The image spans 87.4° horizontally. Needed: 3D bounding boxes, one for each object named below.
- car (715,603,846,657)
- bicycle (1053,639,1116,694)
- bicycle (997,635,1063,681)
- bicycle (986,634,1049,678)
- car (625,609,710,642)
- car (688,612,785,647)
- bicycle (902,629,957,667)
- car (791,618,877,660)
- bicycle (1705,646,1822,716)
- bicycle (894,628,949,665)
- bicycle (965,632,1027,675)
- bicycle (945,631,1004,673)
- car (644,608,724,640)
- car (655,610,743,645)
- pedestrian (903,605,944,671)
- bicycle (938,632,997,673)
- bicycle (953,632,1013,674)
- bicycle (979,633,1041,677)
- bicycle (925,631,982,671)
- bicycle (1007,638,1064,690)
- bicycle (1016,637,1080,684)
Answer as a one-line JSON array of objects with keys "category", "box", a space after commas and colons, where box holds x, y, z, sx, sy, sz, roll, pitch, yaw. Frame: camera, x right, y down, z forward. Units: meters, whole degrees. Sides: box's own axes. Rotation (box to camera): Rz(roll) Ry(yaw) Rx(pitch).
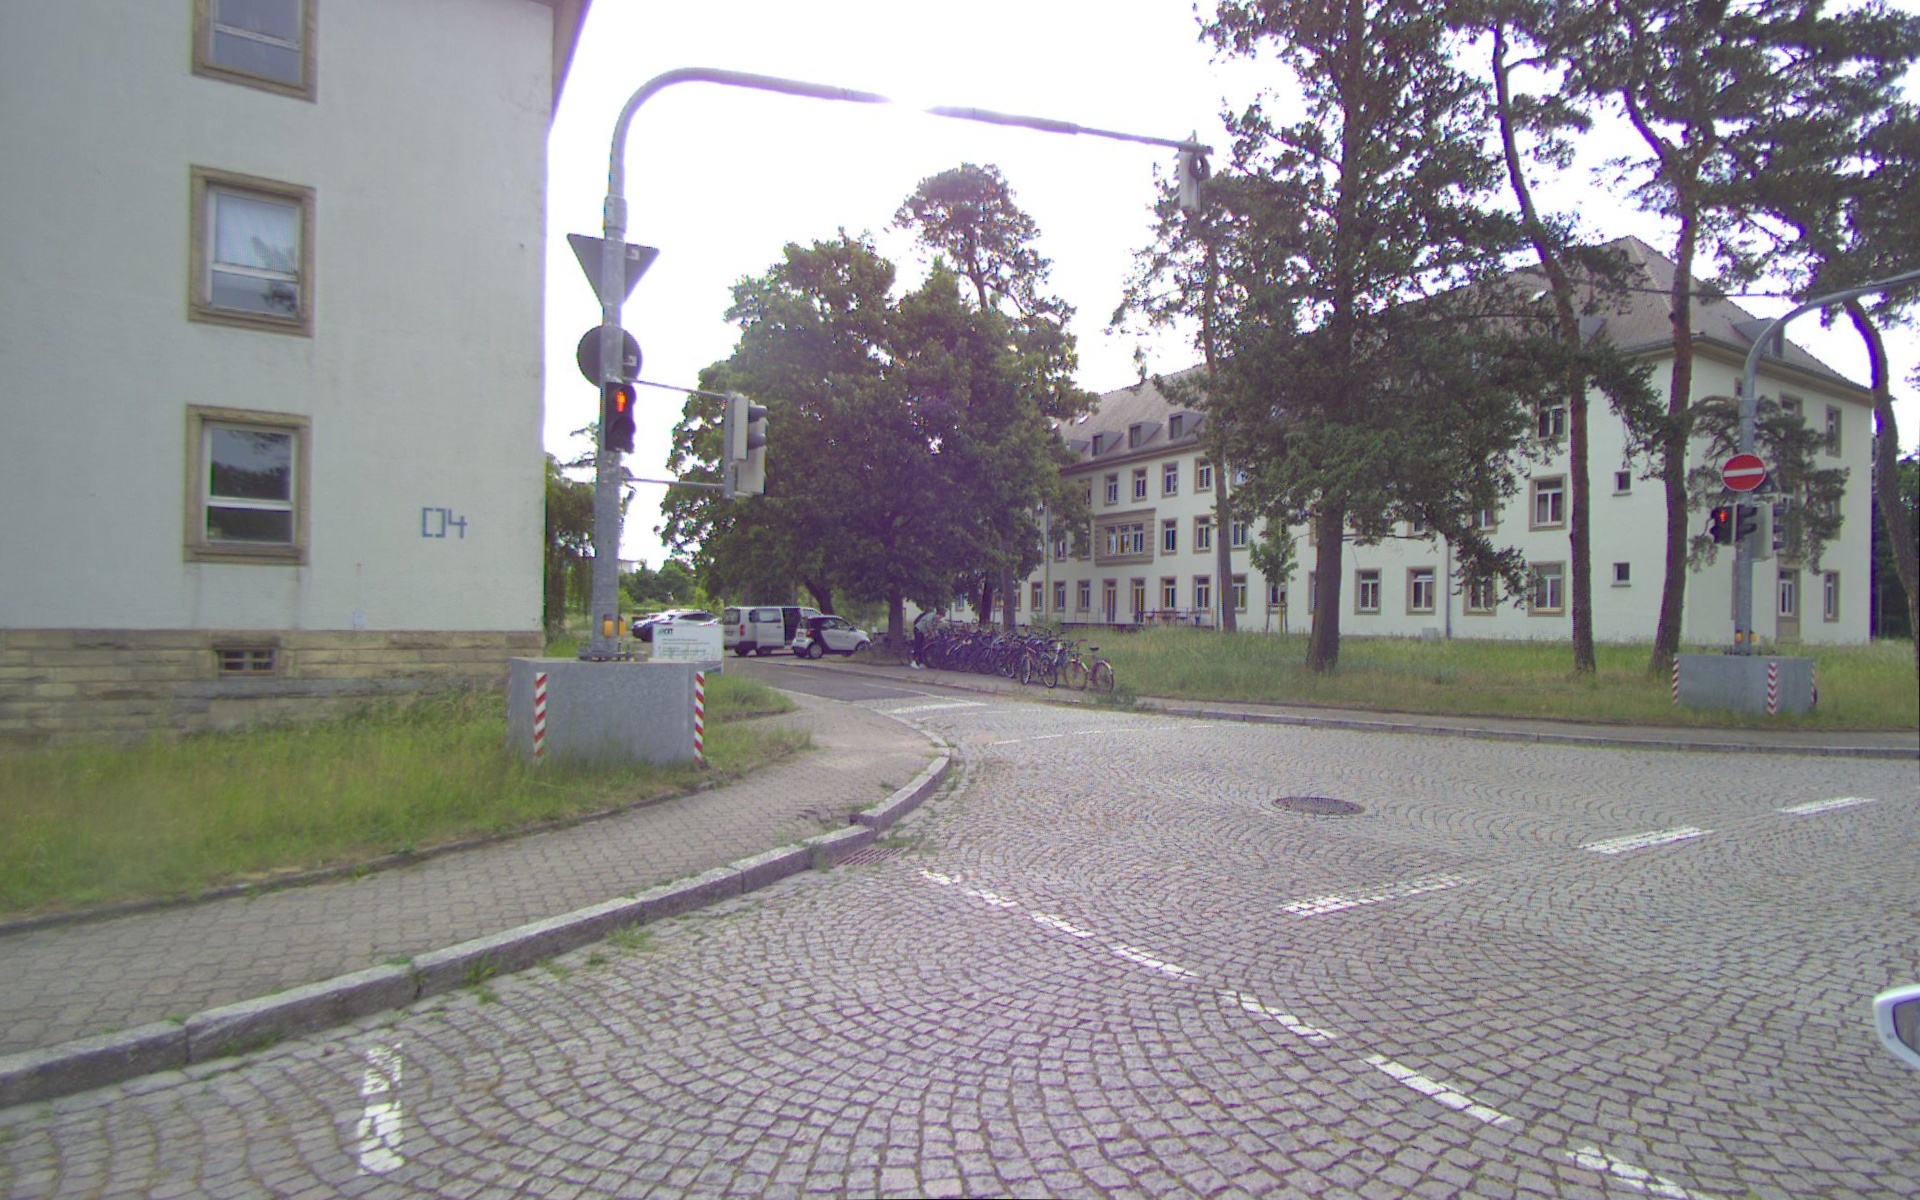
[{"category": "car", "box": [-7.033, 1.194, 39.709, 4.877, 1.978, 1.839, 2, 0, -44]}, {"category": "bicycle", "box": [2.600, 1.371, 21.044, 0.510, 1.079, 1.457, 2, -2, -31]}, {"category": "bicycle", "box": [1.736, 1.432, 24.862, 1.565, 1.093, 0.512, 2, -1, -27]}, {"category": "bicycle", "box": [1.471, 1.419, 25.522, 1.567, 1.093, 0.512, 2, -1, -30]}, {"category": "car", "box": [-15.785, 1.387, 54.266, 4.051, 1.716, 1.789, 2, 0, -34]}, {"category": "car", "box": [-10.527, 1.410, 47.369, 4.051, 1.547, 1.789, 2, 0, -34]}, {"category": "bicycle", "box": [-0.899, 1.404, 29.660, 1.567, 1.093, 0.512, 2, -1, -30]}, {"category": "car", "box": [-4.660, 1.445, 37.136, 2.755, 1.447, 1.509, 2, 0, -30]}, {"category": "bicycle", "box": [13.580, 1.344, 17.016, 0.510, 1.079, 1.457, 0, -1, -31]}, {"category": "bicycle", "box": [-1.152, 1.393, 30.091, 1.567, 1.093, 0.512, 2, -1, -30]}, {"category": "bicycle", "box": [0.951, 1.407, 26.365, 1.567, 1.093, 0.512, 2, -1, -30]}, {"category": "bicycle", "box": [0.402, 1.409, 27.286, 1.567, 1.093, 0.512, 2, -1, -30]}, {"category": "car", "box": [-15.844, 1.372, 57.754, 4.051, 1.716, 1.789, 2, 0, -34]}, {"category": "car", "box": [-13.499, 1.420, 52.001, 4.051, 1.716, 1.789, 2, 0, -34]}, {"category": "pedestrian", "box": [-1.023, 1.058, 28.505, 1.135, 1.812, 1.064, 0, 0, -2]}, {"category": "bicycle", "box": [0.207, 1.430, 27.617, 1.567, 1.093, 0.512, 2, -1, -30]}, {"category": "bicycle", "box": [0.629, 1.416, 26.896, 1.567, 1.093, 0.512, 2, -1, -30]}, {"category": "bicycle", "box": [1.299, 1.411, 25.839, 1.567, 1.093, 0.512, 2, -1, -30]}, {"category": "bicycle", "box": [-0.182, 1.430, 28.311, 1.567, 1.093, 0.512, 2, -1, -30]}, {"category": "bicycle", "box": [1.658, 1.406, 22.384, 0.510, 1.093, 1.457, 2, -2, -31]}, {"category": "bicycle", "box": [2.141, 1.449, 24.317, 1.568, 1.093, 0.511, 2, -2, -33]}]
